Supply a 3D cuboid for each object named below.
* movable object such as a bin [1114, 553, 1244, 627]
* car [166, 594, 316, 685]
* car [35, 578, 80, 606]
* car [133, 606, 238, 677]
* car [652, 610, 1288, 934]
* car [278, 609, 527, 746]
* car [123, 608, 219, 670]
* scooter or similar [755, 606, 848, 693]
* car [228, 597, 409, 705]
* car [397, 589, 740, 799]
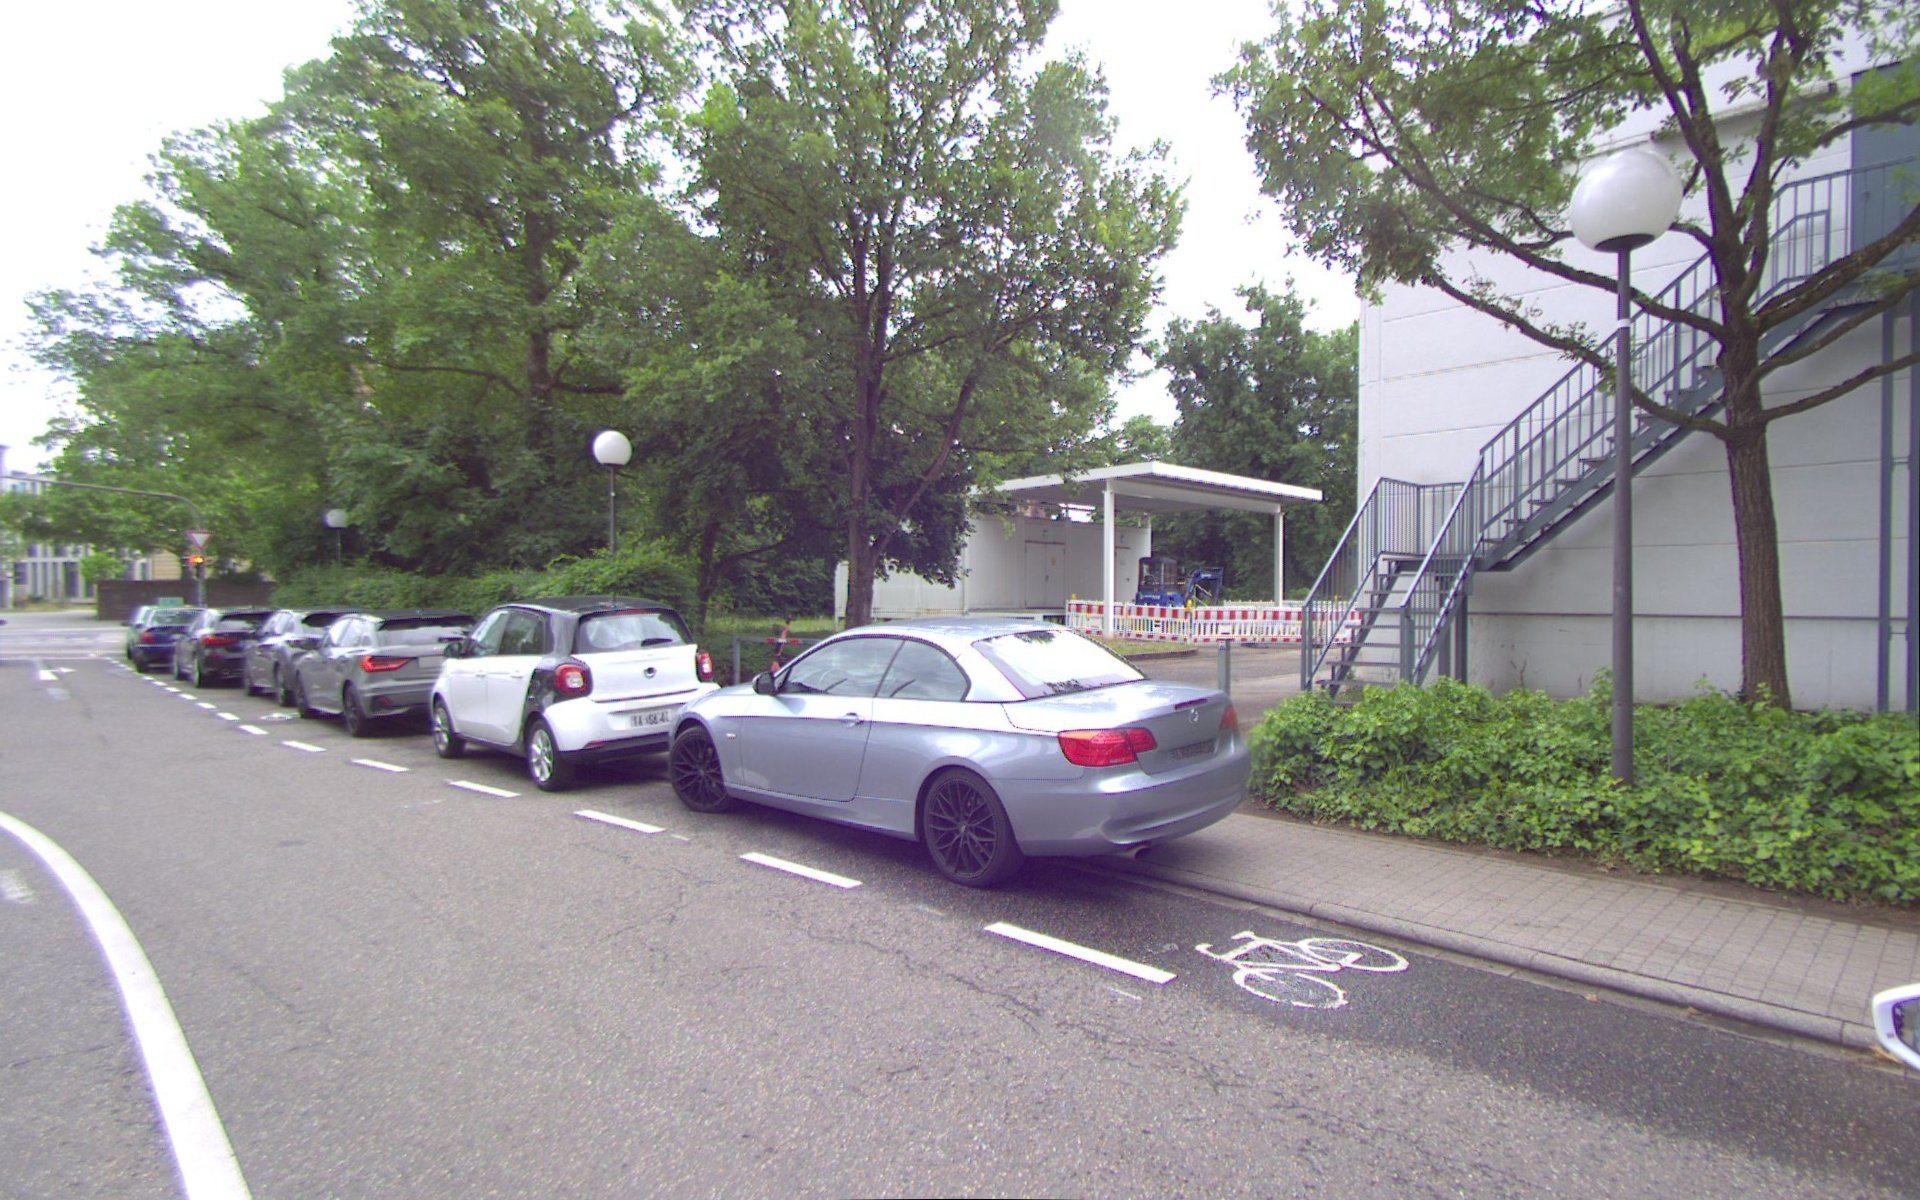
[{"bbox_3d":[7.032,-0.261,31.985,1.972,2.200,4.644,1,0,42],"label":"movable object such as a bin"},{"bbox_3d":[-14.154,0.702,19.664,1.791,1.582,4.471,0,0,-44],"label":"car"},{"bbox_3d":[-75.899,-0.648,84.563,1.979,1.601,4.367,-9,-1,-33],"label":"car"},{"bbox_3d":[-18.093,0.894,23.390,1.789,1.427,4.286,0,0,-40],"label":"car"},{"bbox_3d":[-0.174,0.806,6.678,4.136,1.407,1.813,0,1,44],"label":"car"},{"bbox_3d":[-7.206,0.851,12.815,3.954,1.430,1.758,0,0,45],"label":"car"},{"bbox_3d":[-21.462,0.994,27.272,1.790,1.489,4.196,0,0,-42],"label":"car"},{"bbox_3d":[-2.283,0.710,14.554,1.281,1.226,0.450,0,1,-3],"label":"scooter or similar"},{"bbox_3d":[-10.360,0.722,16.121,1.755,1.491,3.775,0,0,-44],"label":"car"},{"bbox_3d":[-3.890,0.724,9.657,1.710,1.607,3.826,-1,0,-44],"label":"car"}]
